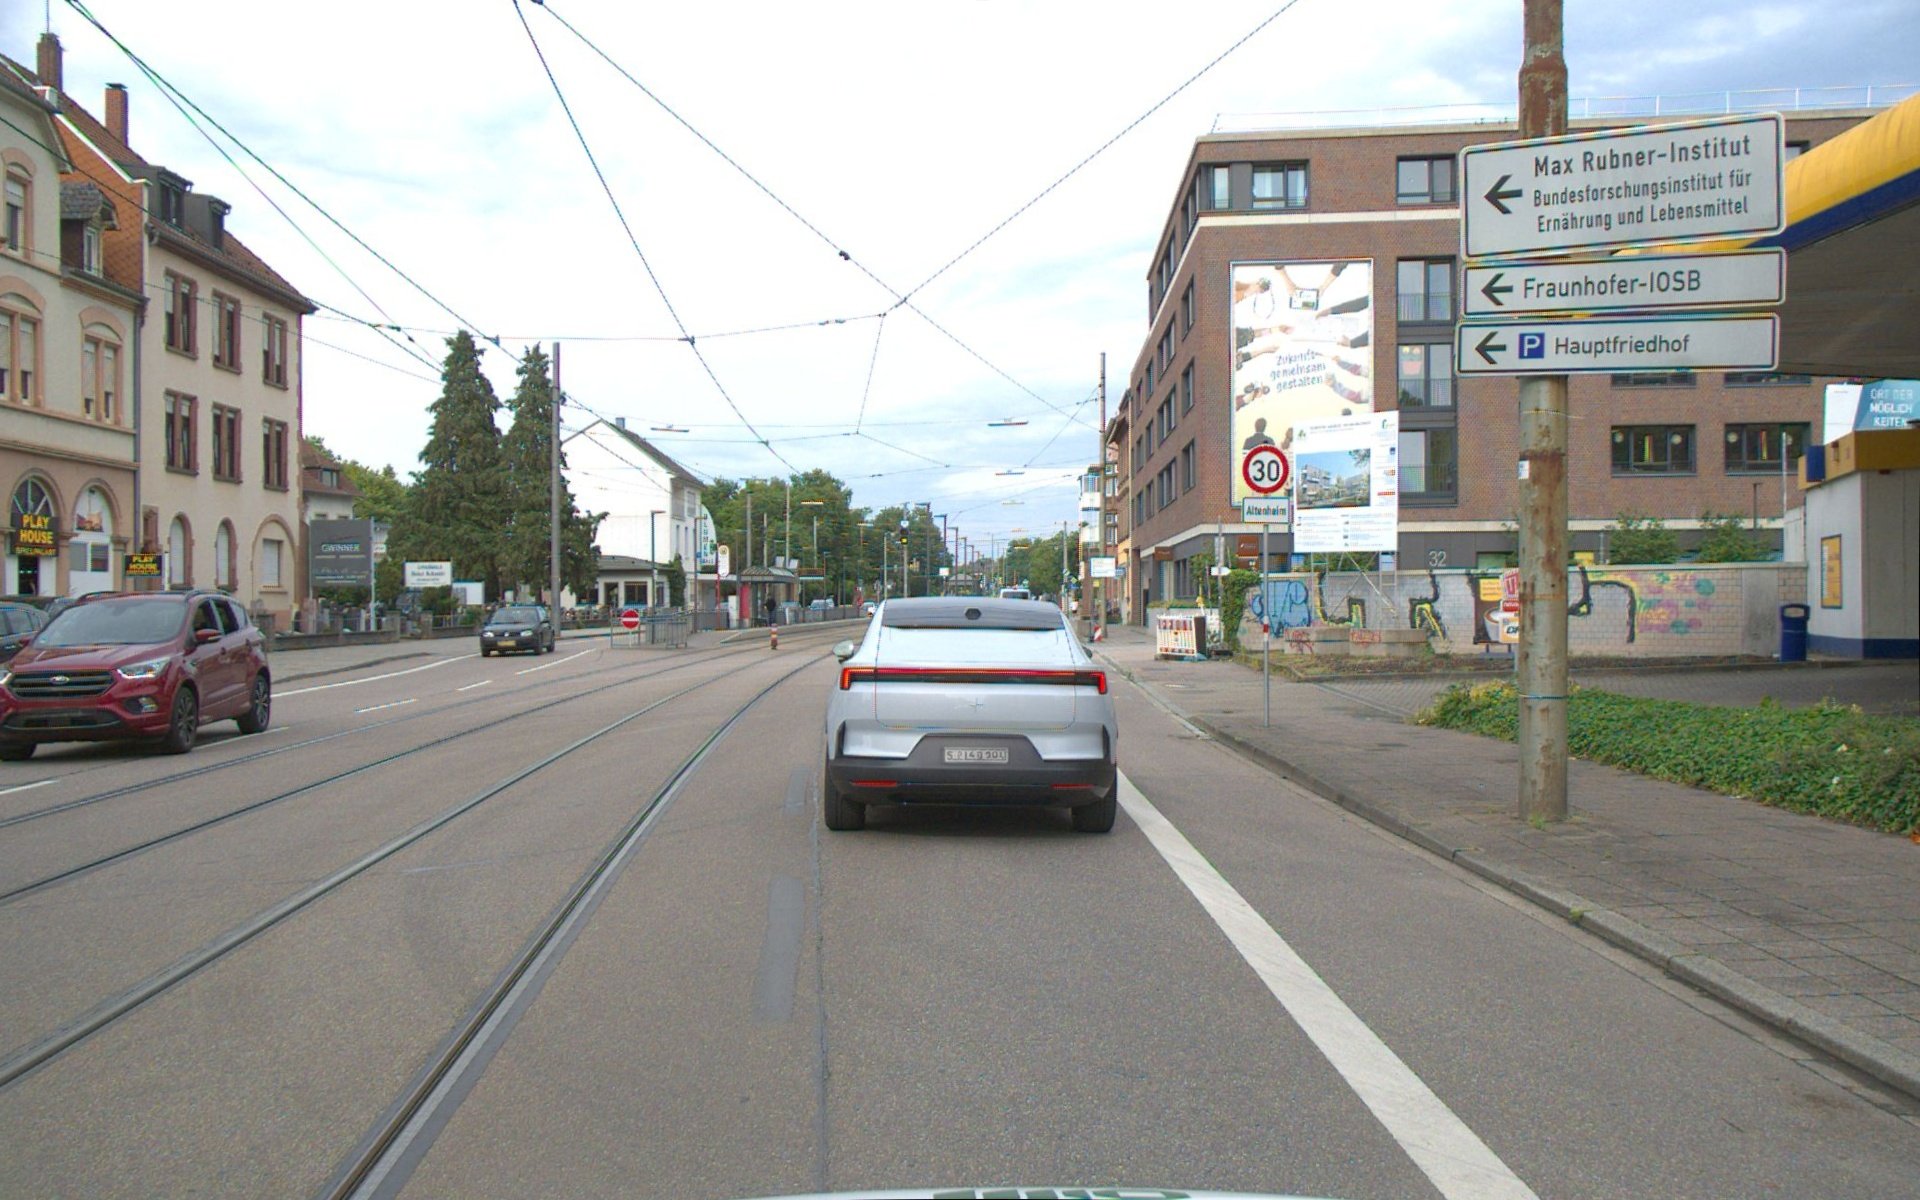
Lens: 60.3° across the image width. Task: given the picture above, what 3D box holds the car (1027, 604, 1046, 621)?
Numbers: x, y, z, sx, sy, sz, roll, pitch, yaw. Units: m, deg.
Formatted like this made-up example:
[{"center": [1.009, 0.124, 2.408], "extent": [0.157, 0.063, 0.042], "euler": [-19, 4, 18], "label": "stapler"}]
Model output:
[{"center": [9.054, 1.471, 195.026], "extent": [1.953, 2.049, 3.999], "euler": [1, 0, -1], "label": "car"}]

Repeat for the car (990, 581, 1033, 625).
[{"center": [2.935, 0.182, 95.429], "extent": [2.181, 2.444, 5.122], "euler": [1, 0, -1], "label": "car"}]

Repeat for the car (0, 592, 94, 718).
[{"center": [-14.958, 0.795, 24.610], "extent": [1.997, 1.780, 4.531], "euler": [2, 0, -5], "label": "car"}]

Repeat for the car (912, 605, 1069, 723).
[{"center": [0.424, 0.810, 22.840], "extent": [1.952, 1.444, 4.001], "euler": [-1, 0, 1], "label": "car"}]

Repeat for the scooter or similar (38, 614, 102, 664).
[{"center": [-20.795, 0.910, 38.637], "extent": [1.152, 1.121, 0.527], "euler": [2, -1, -6], "label": "scooter or similar"}]

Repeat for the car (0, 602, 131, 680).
[{"center": [-19.376, 0.802, 34.407], "extent": [1.953, 1.519, 4.900], "euler": [0, 0, -2], "label": "car"}]

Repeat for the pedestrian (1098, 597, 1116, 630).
[{"center": [8.858, 0.805, 99.594], "extent": [0.940, 1.882, 0.976], "euler": [-2, 0, 8], "label": "pedestrian"}]

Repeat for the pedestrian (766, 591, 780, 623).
[{"center": [-9.763, 0.368, 86.277], "extent": [0.602, 1.694, 0.698], "euler": [0, -1, 5], "label": "pedestrian"}]

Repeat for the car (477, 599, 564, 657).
[{"center": [-12.993, 0.809, 49.087], "extent": [1.755, 1.557, 4.136], "euler": [-2, 0, -5], "label": "car"}]

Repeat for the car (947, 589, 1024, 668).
[{"center": [0.628, 0.632, 38.092], "extent": [1.646, 1.717, 3.825], "euler": [0, 0, 3], "label": "car"}]

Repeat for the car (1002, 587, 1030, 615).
[{"center": [4.297, 0.098, 127.099], "extent": [1.953, 2.049, 3.999], "euler": [1, 0, -1], "label": "car"}]

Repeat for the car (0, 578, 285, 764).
[{"center": [-8.889, 0.689, 18.018], "extent": [1.808, 1.754, 4.399], "euler": [0, 0, -8], "label": "car"}]

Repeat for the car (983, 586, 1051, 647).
[{"center": [1.801, 0.506, 53.435], "extent": [1.953, 1.847, 3.999], "euler": [-1, 0, -1], "label": "car"}]

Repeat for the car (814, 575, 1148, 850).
[{"center": [0.062, 0.689, 11.771], "extent": [1.959, 1.608, 3.998], "euler": [1, -1, -2], "label": "car"}]

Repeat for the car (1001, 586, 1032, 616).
[{"center": [4.002, 0.102, 117.502], "extent": [1.953, 2.049, 3.999], "euler": [1, 0, -1], "label": "car"}]
